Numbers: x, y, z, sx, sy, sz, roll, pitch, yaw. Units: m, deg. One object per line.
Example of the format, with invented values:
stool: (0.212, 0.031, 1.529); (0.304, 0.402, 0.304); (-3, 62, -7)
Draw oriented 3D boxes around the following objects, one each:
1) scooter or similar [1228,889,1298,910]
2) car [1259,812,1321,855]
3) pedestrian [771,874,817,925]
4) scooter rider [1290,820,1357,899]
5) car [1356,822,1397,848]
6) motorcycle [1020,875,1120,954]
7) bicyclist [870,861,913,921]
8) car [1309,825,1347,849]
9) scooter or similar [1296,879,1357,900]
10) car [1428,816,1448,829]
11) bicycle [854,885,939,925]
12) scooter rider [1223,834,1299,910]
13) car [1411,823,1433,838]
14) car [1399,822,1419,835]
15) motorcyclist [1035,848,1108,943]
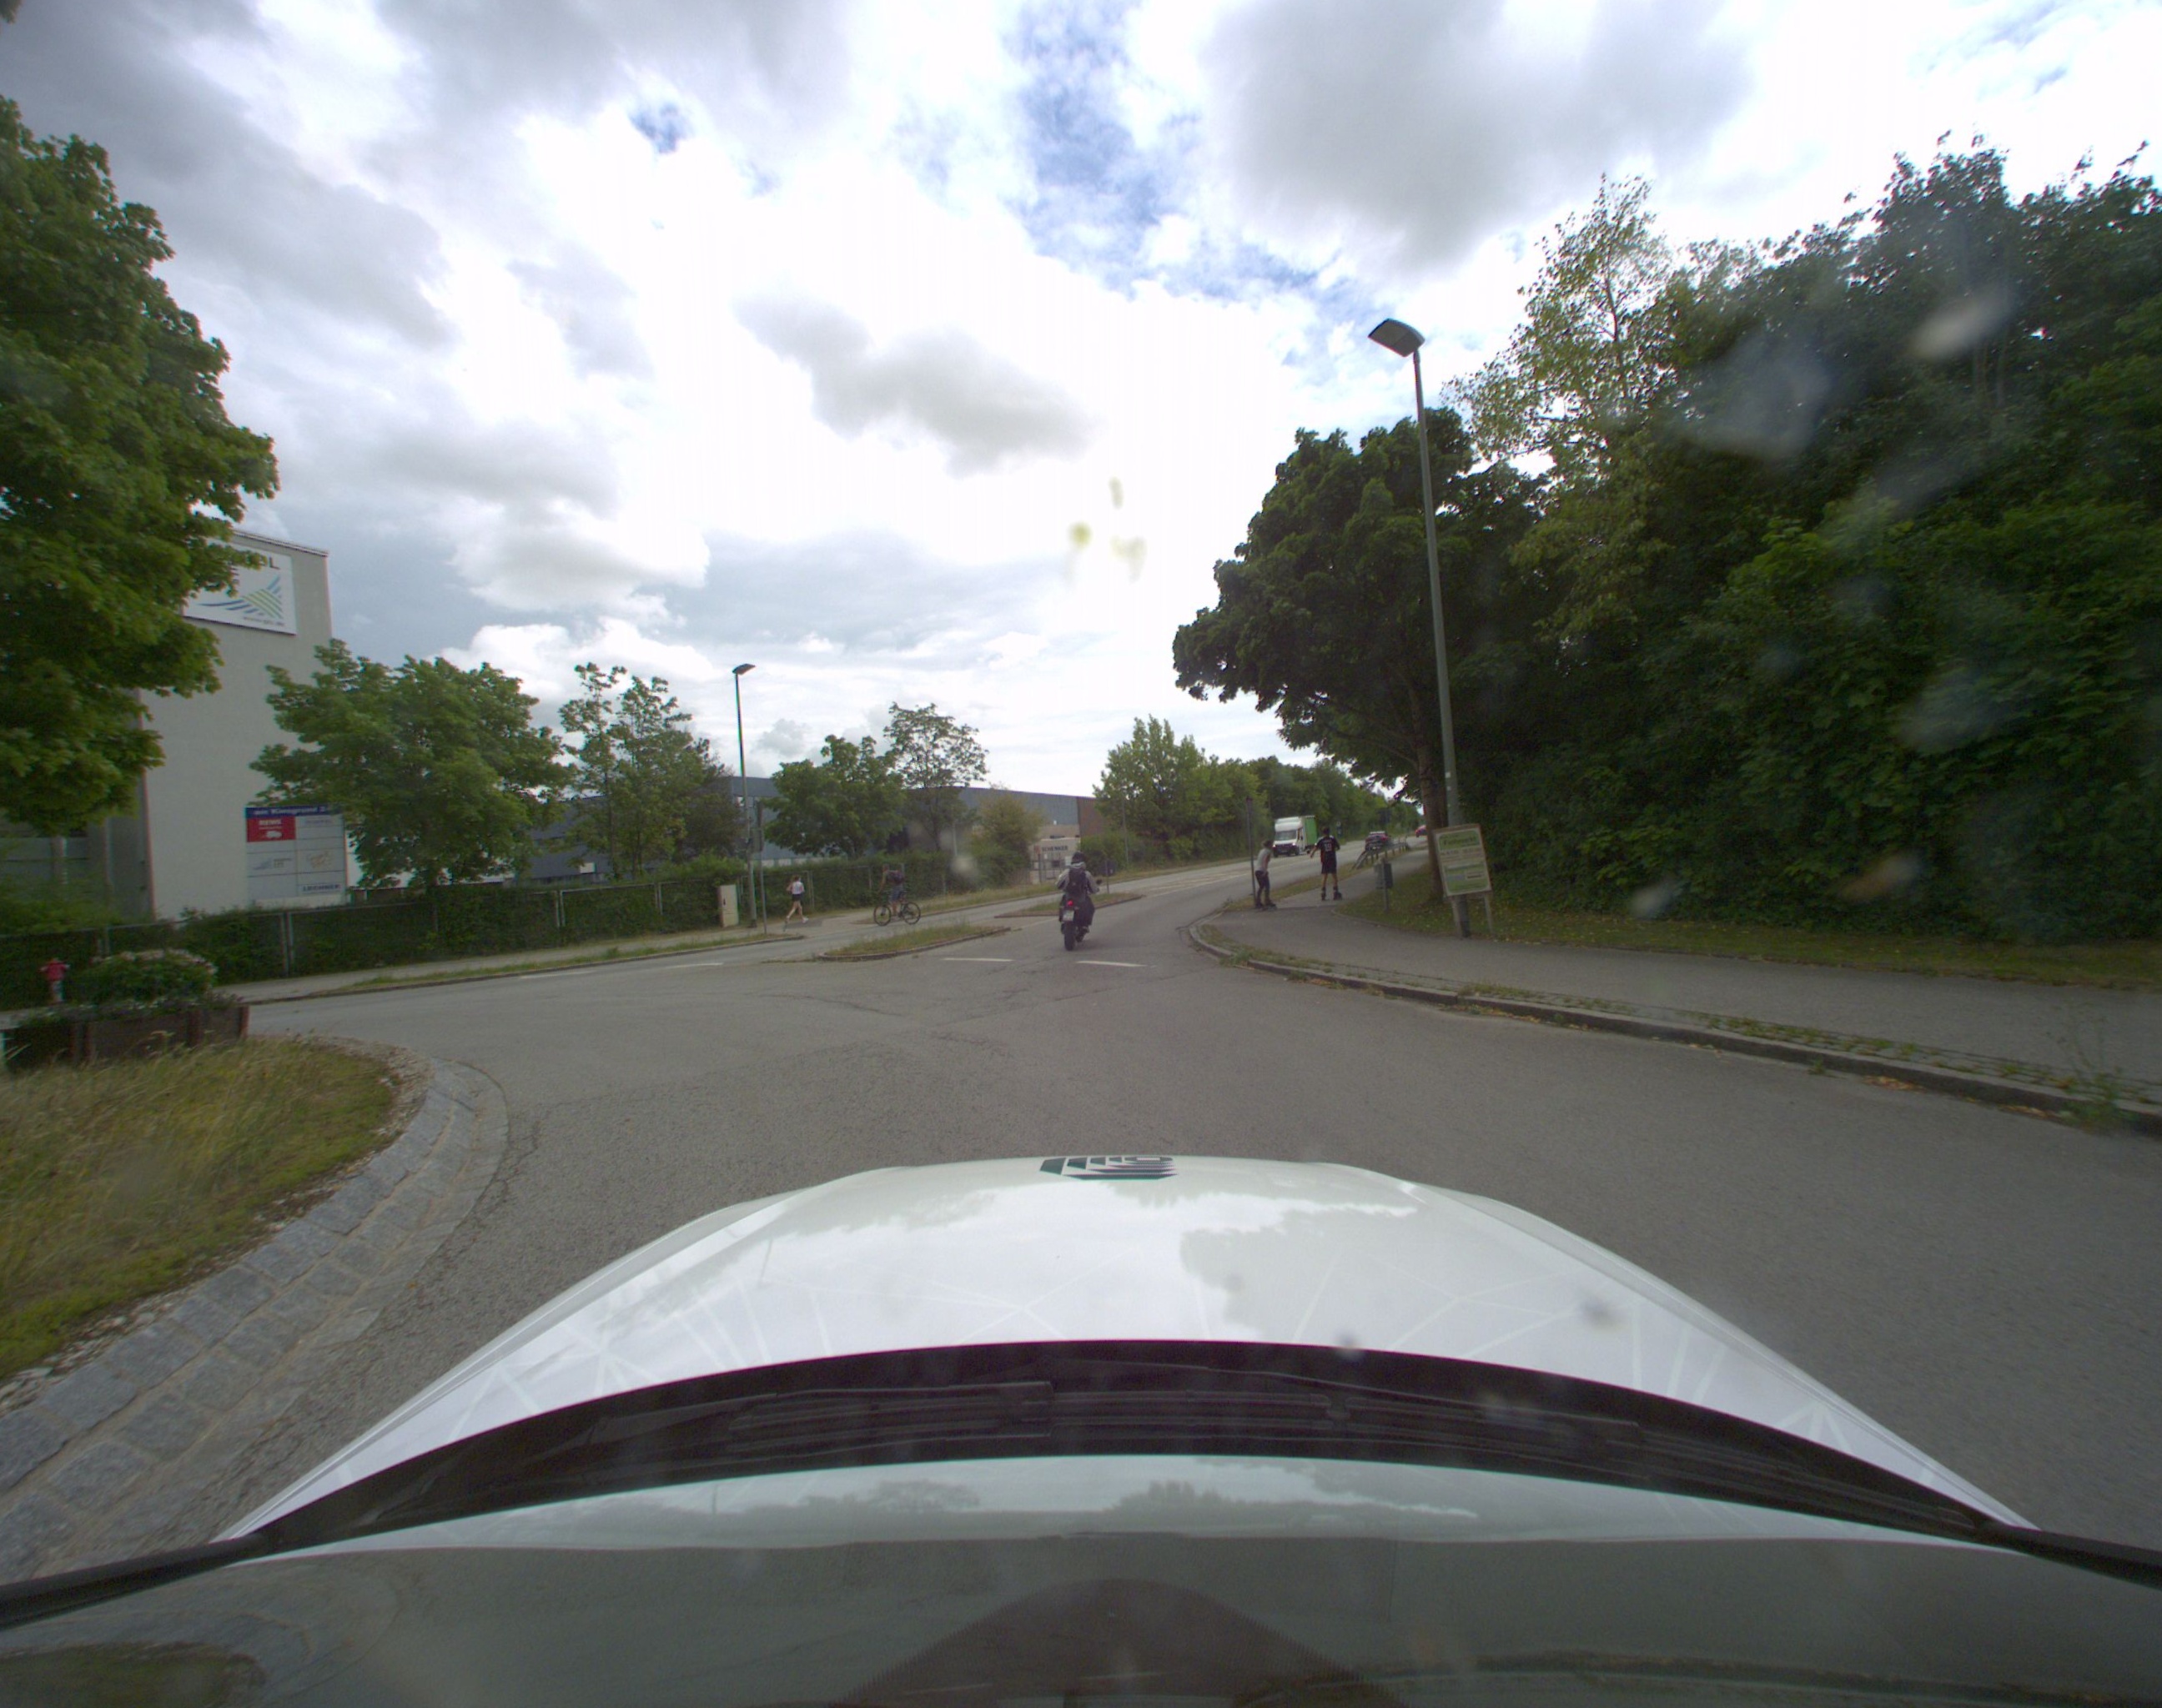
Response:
scooter or similar: (4.367, 1.089, 19.592); (1.232, 0.364, 1.089); (-5, 0, -31)
car: (17.797, -1.813, 68.902); (3.140, 3.204, 7.681); (-5, 0, 28)
pedestrian: (-9.337, 1.478, 26.553); (0.777, 1.544, 1.052); (-4, 0, 31)
scooter rider: (6.323, 0.136, 21.251); (1.210, 1.909, 1.136); (-6, -1, 34)
car: (25.362, -1.670, 69.750); (2.490, 1.947, 5.746); (-5, 0, 26)
motorcycle: (-0.142, 1.071, 15.082); (0.889, 1.158, 2.634); (-5, 0, 20)
bicyclist: (-5.591, 1.091, 24.030); (0.907, 1.722, 0.663); (-3, 0, 28)
car: (25.653, -1.811, 84.412); (2.654, 2.173, 6.036); (-5, 0, 27)
scooter or similar: (6.410, 0.921, 21.237); (1.210, 0.380, 1.136); (-6, 0, 34)
car: (61.462, -5.498, 140.189); (2.489, 1.947, 5.747); (-5, 0, 28)
bicycle: (-5.445, 1.493, 23.983); (2.475, 1.089, 0.776); (-2, 1, 28)
scooter rider: (4.331, 0.432, 19.591); (1.249, 1.672, 1.089); (-6, 1, -31)
car: (51.888, -3.611, 123.770); (2.489, 1.947, 5.747); (-5, 0, 28)
car: (56.741, -4.355, 140.759); (2.489, 1.947, 5.747); (-5, 0, 28)
motorcyclist: (-0.153, 0.747, 15.103); (0.854, 1.623, 1.197); (-5, 0, 20)
